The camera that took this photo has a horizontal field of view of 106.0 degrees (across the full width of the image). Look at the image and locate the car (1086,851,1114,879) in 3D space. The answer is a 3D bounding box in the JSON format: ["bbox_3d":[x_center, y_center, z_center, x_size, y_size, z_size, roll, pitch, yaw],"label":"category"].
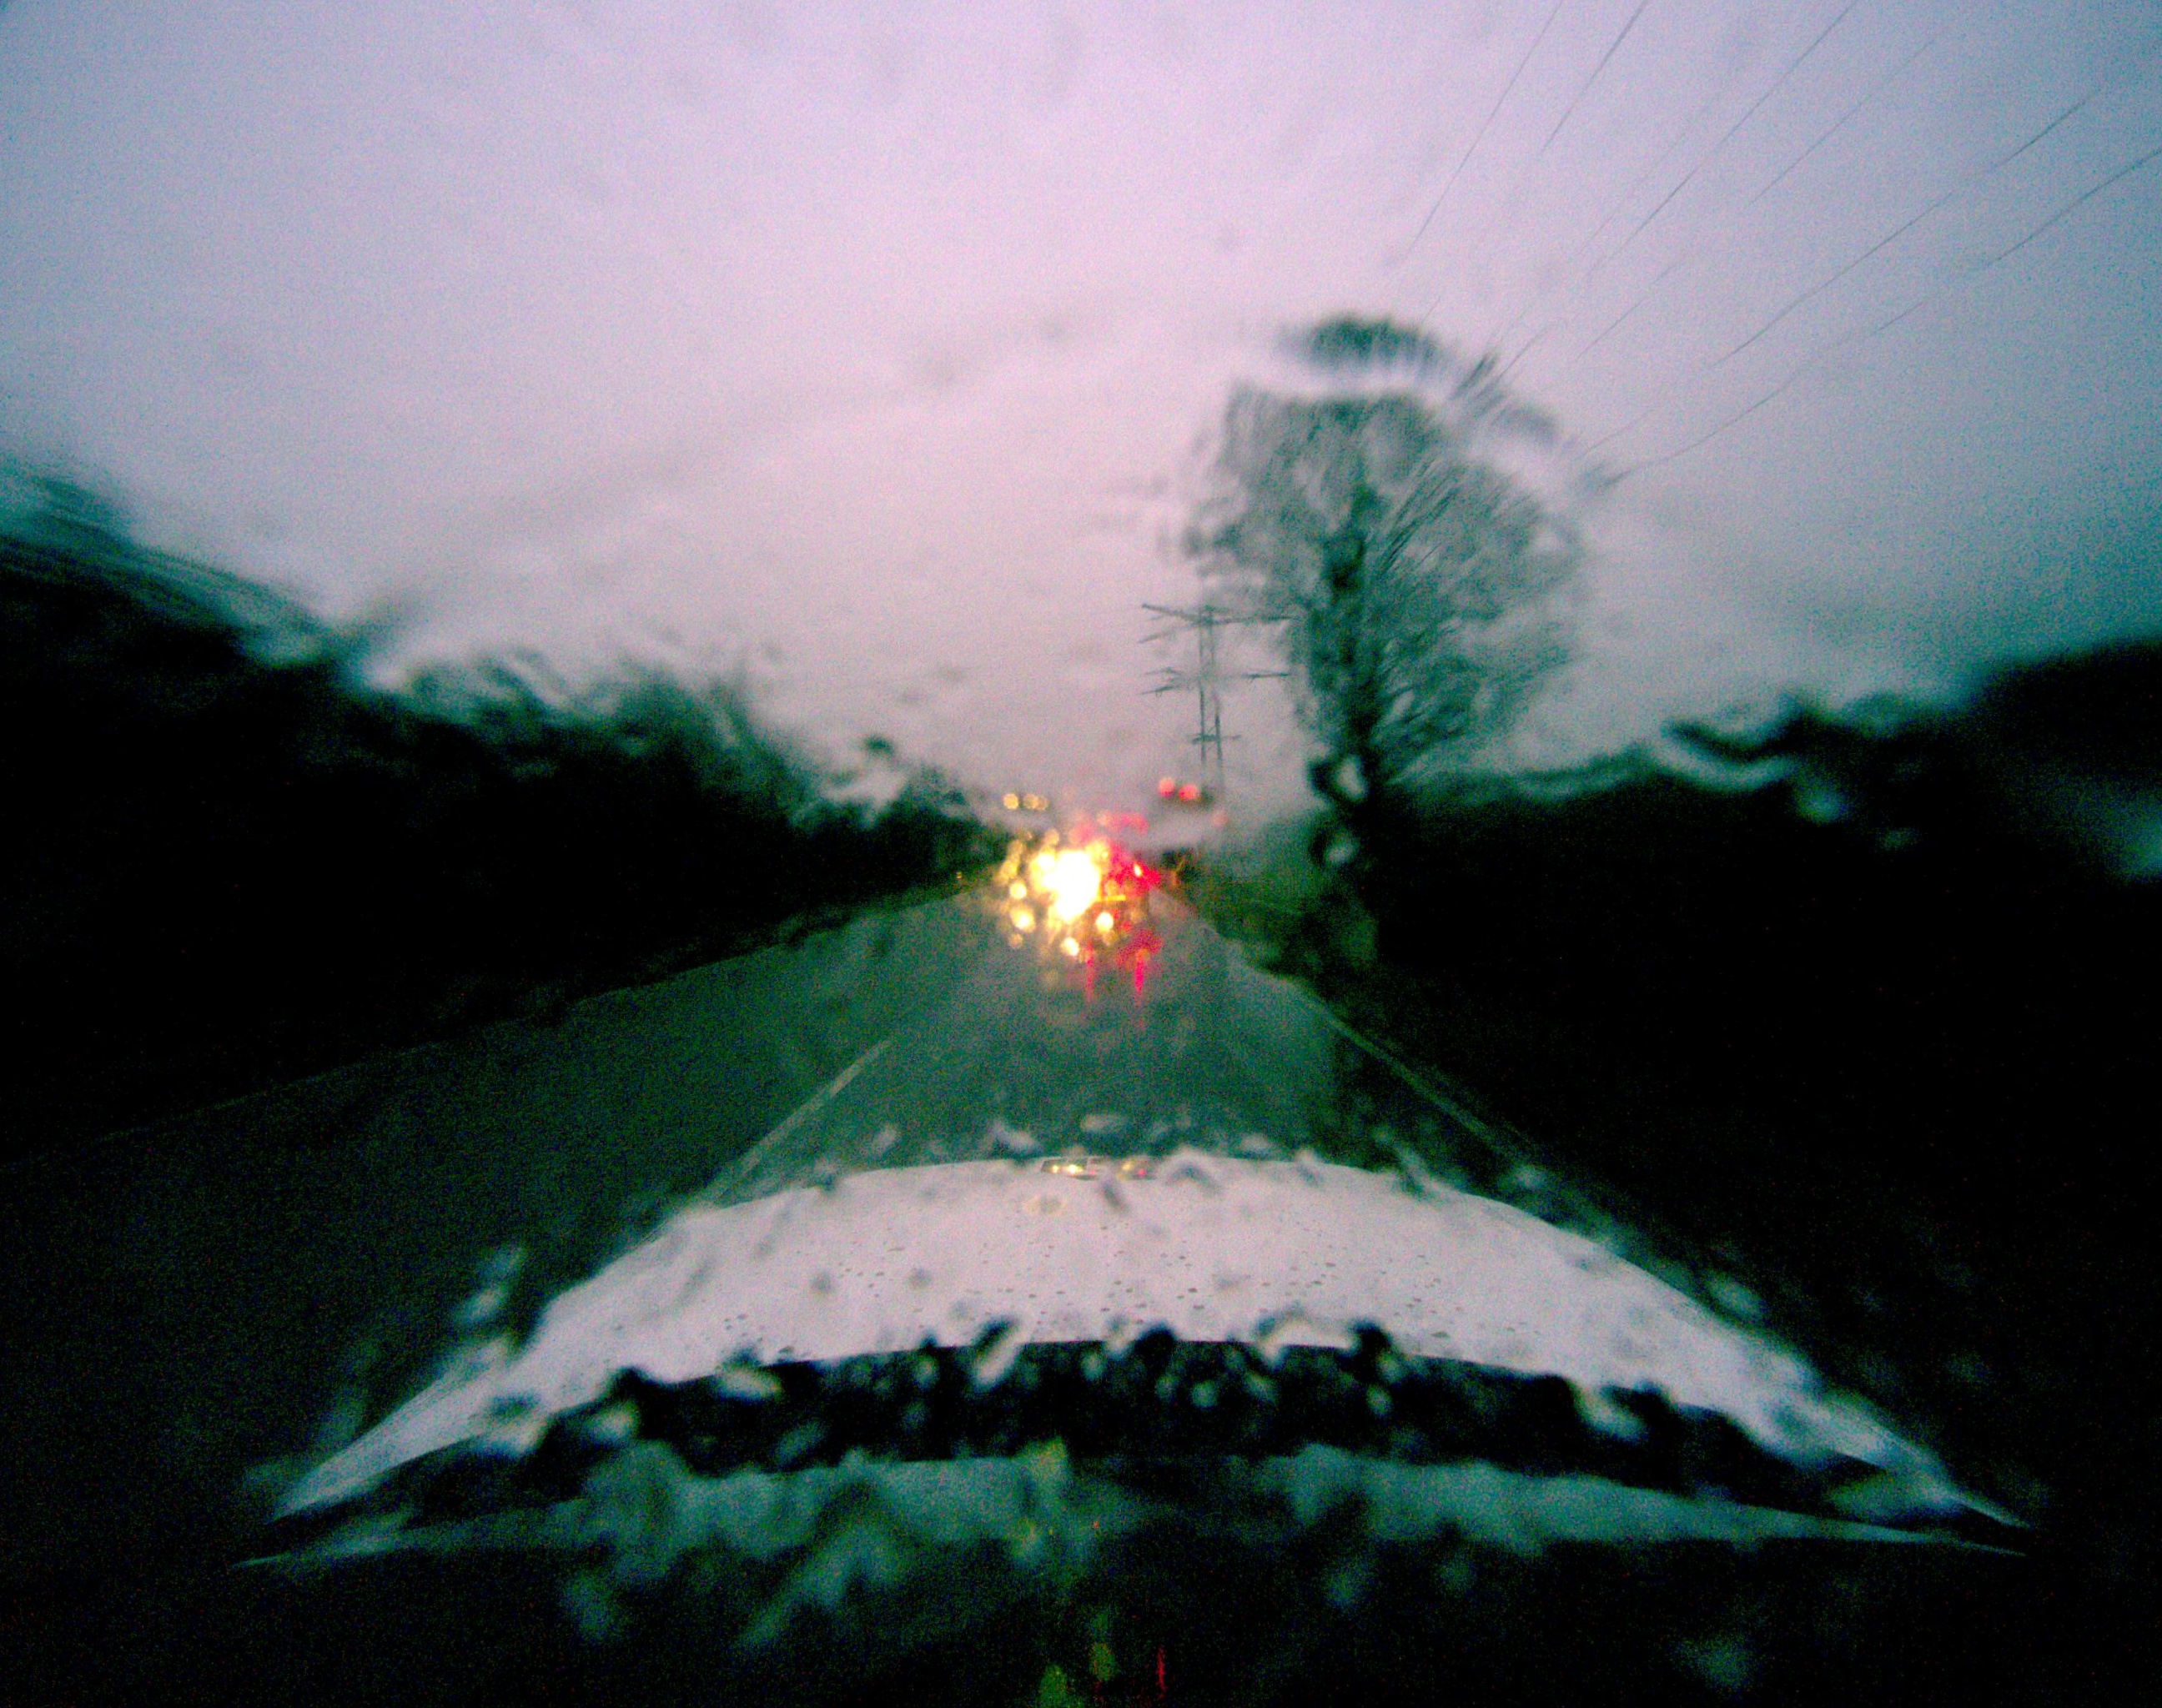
[{"bbox_3d":[1.486,0.796,62.663,1.986,2.013,4.002,-2,0,2],"label":"car"}]

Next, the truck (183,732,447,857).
[{"bbox_3d":[-25.274,-1.769,27.398,2.981,3.632,6.068,-2,0,1],"label":"truck"}]

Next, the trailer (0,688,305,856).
[{"bbox_3d":[-25.455,-1.824,19.300,2.988,3.633,11.389,-1,0,1],"label":"trailer"}]

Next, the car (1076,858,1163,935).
[{"bbox_3d":[0.960,0.997,21.039,1.986,1.752,4.001,-2,0,1],"label":"car"}]

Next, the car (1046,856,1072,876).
[{"bbox_3d":[-1.827,0.973,67.554,1.801,1.536,4.409,4,0,2],"label":"car"}]
